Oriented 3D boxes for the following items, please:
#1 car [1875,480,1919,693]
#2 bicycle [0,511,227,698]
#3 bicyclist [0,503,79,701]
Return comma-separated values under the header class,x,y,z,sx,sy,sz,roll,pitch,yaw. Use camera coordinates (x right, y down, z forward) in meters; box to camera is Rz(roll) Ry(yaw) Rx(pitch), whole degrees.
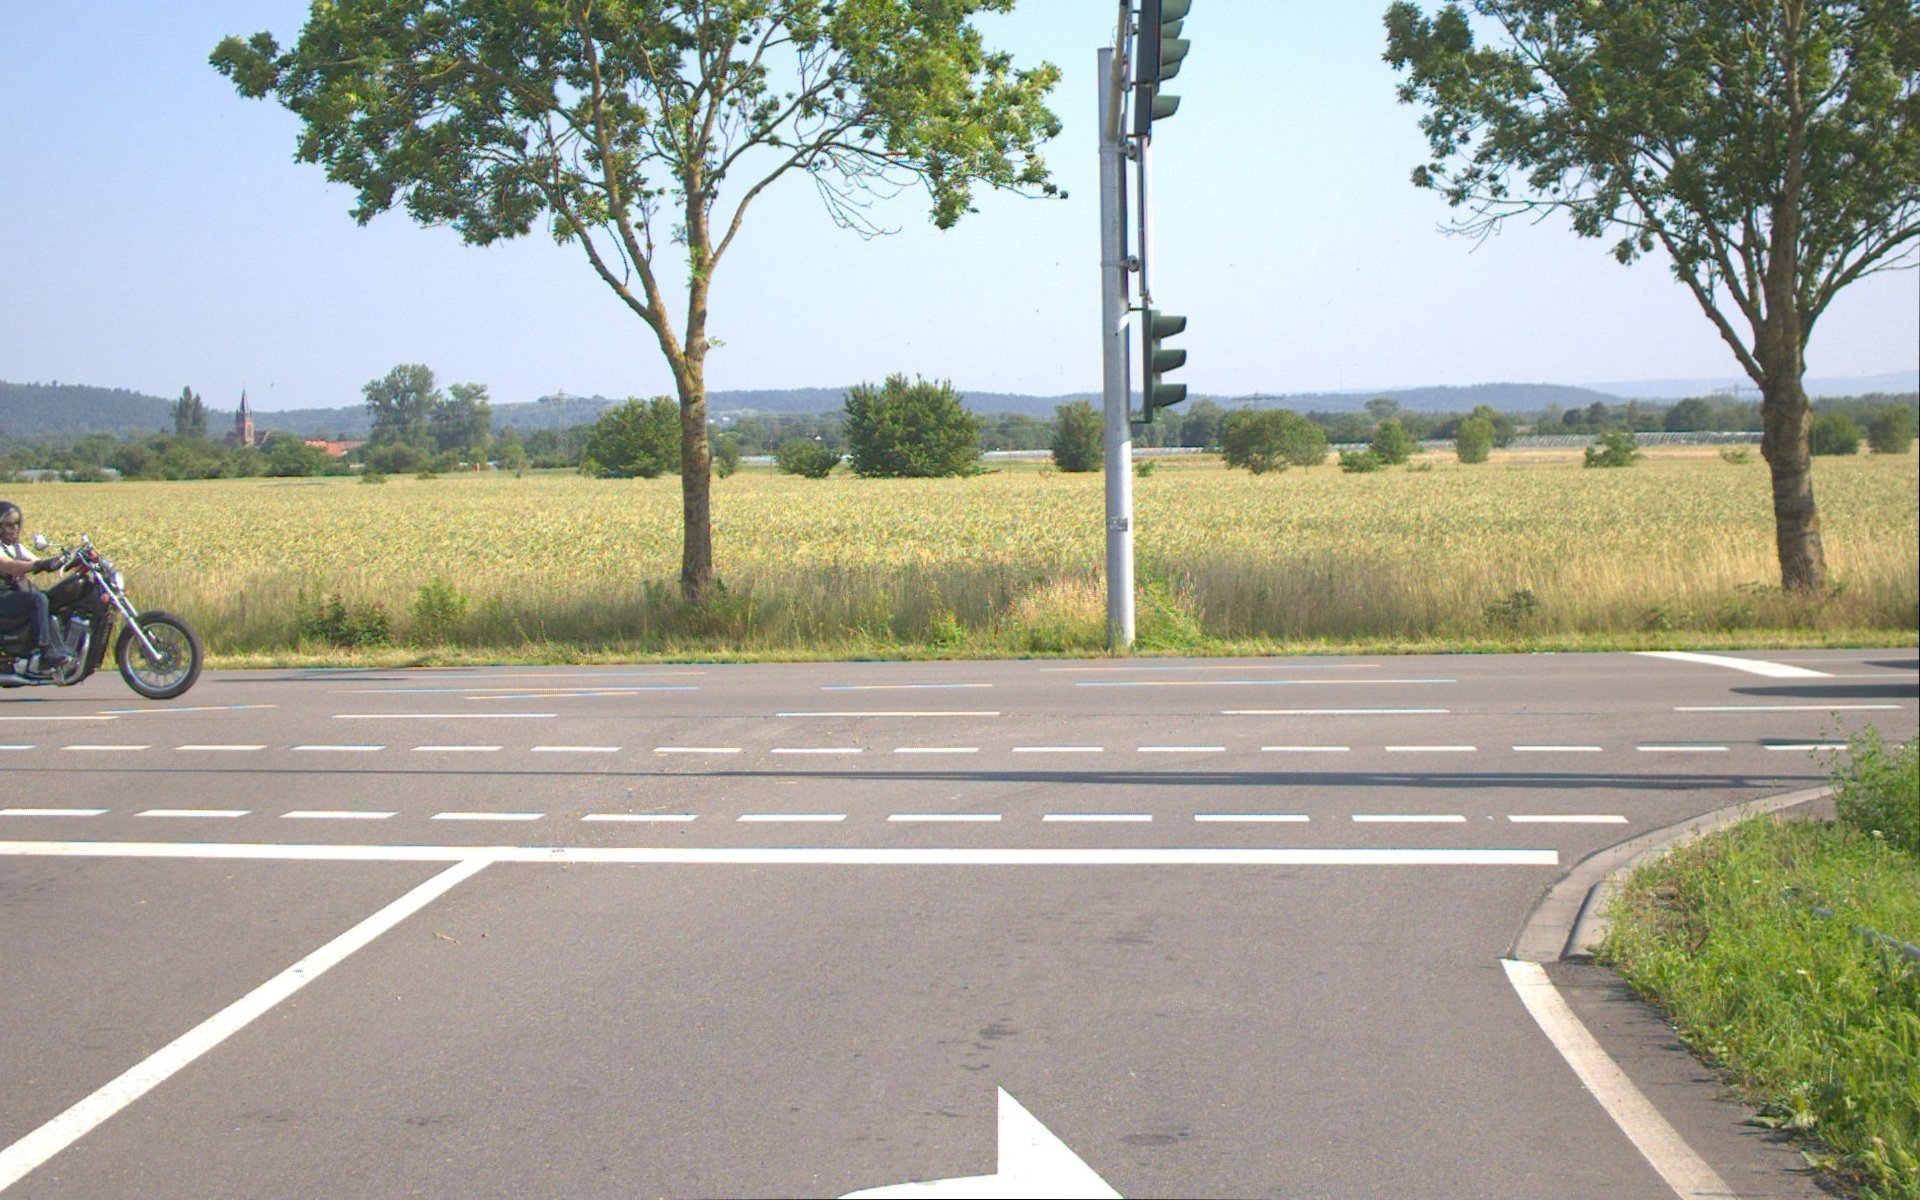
class,x,y,z,sx,sy,sz,roll,pitch,yaw
car,9.149,-0.136,24.533,4.672,1.514,1.922,-1,1,-3
bicycle,-6.928,0.023,26.310,2.490,1.392,0.732,1,1,-3
bicyclist,-7.231,0.003,26.266,0.808,1.484,0.757,1,1,-2
